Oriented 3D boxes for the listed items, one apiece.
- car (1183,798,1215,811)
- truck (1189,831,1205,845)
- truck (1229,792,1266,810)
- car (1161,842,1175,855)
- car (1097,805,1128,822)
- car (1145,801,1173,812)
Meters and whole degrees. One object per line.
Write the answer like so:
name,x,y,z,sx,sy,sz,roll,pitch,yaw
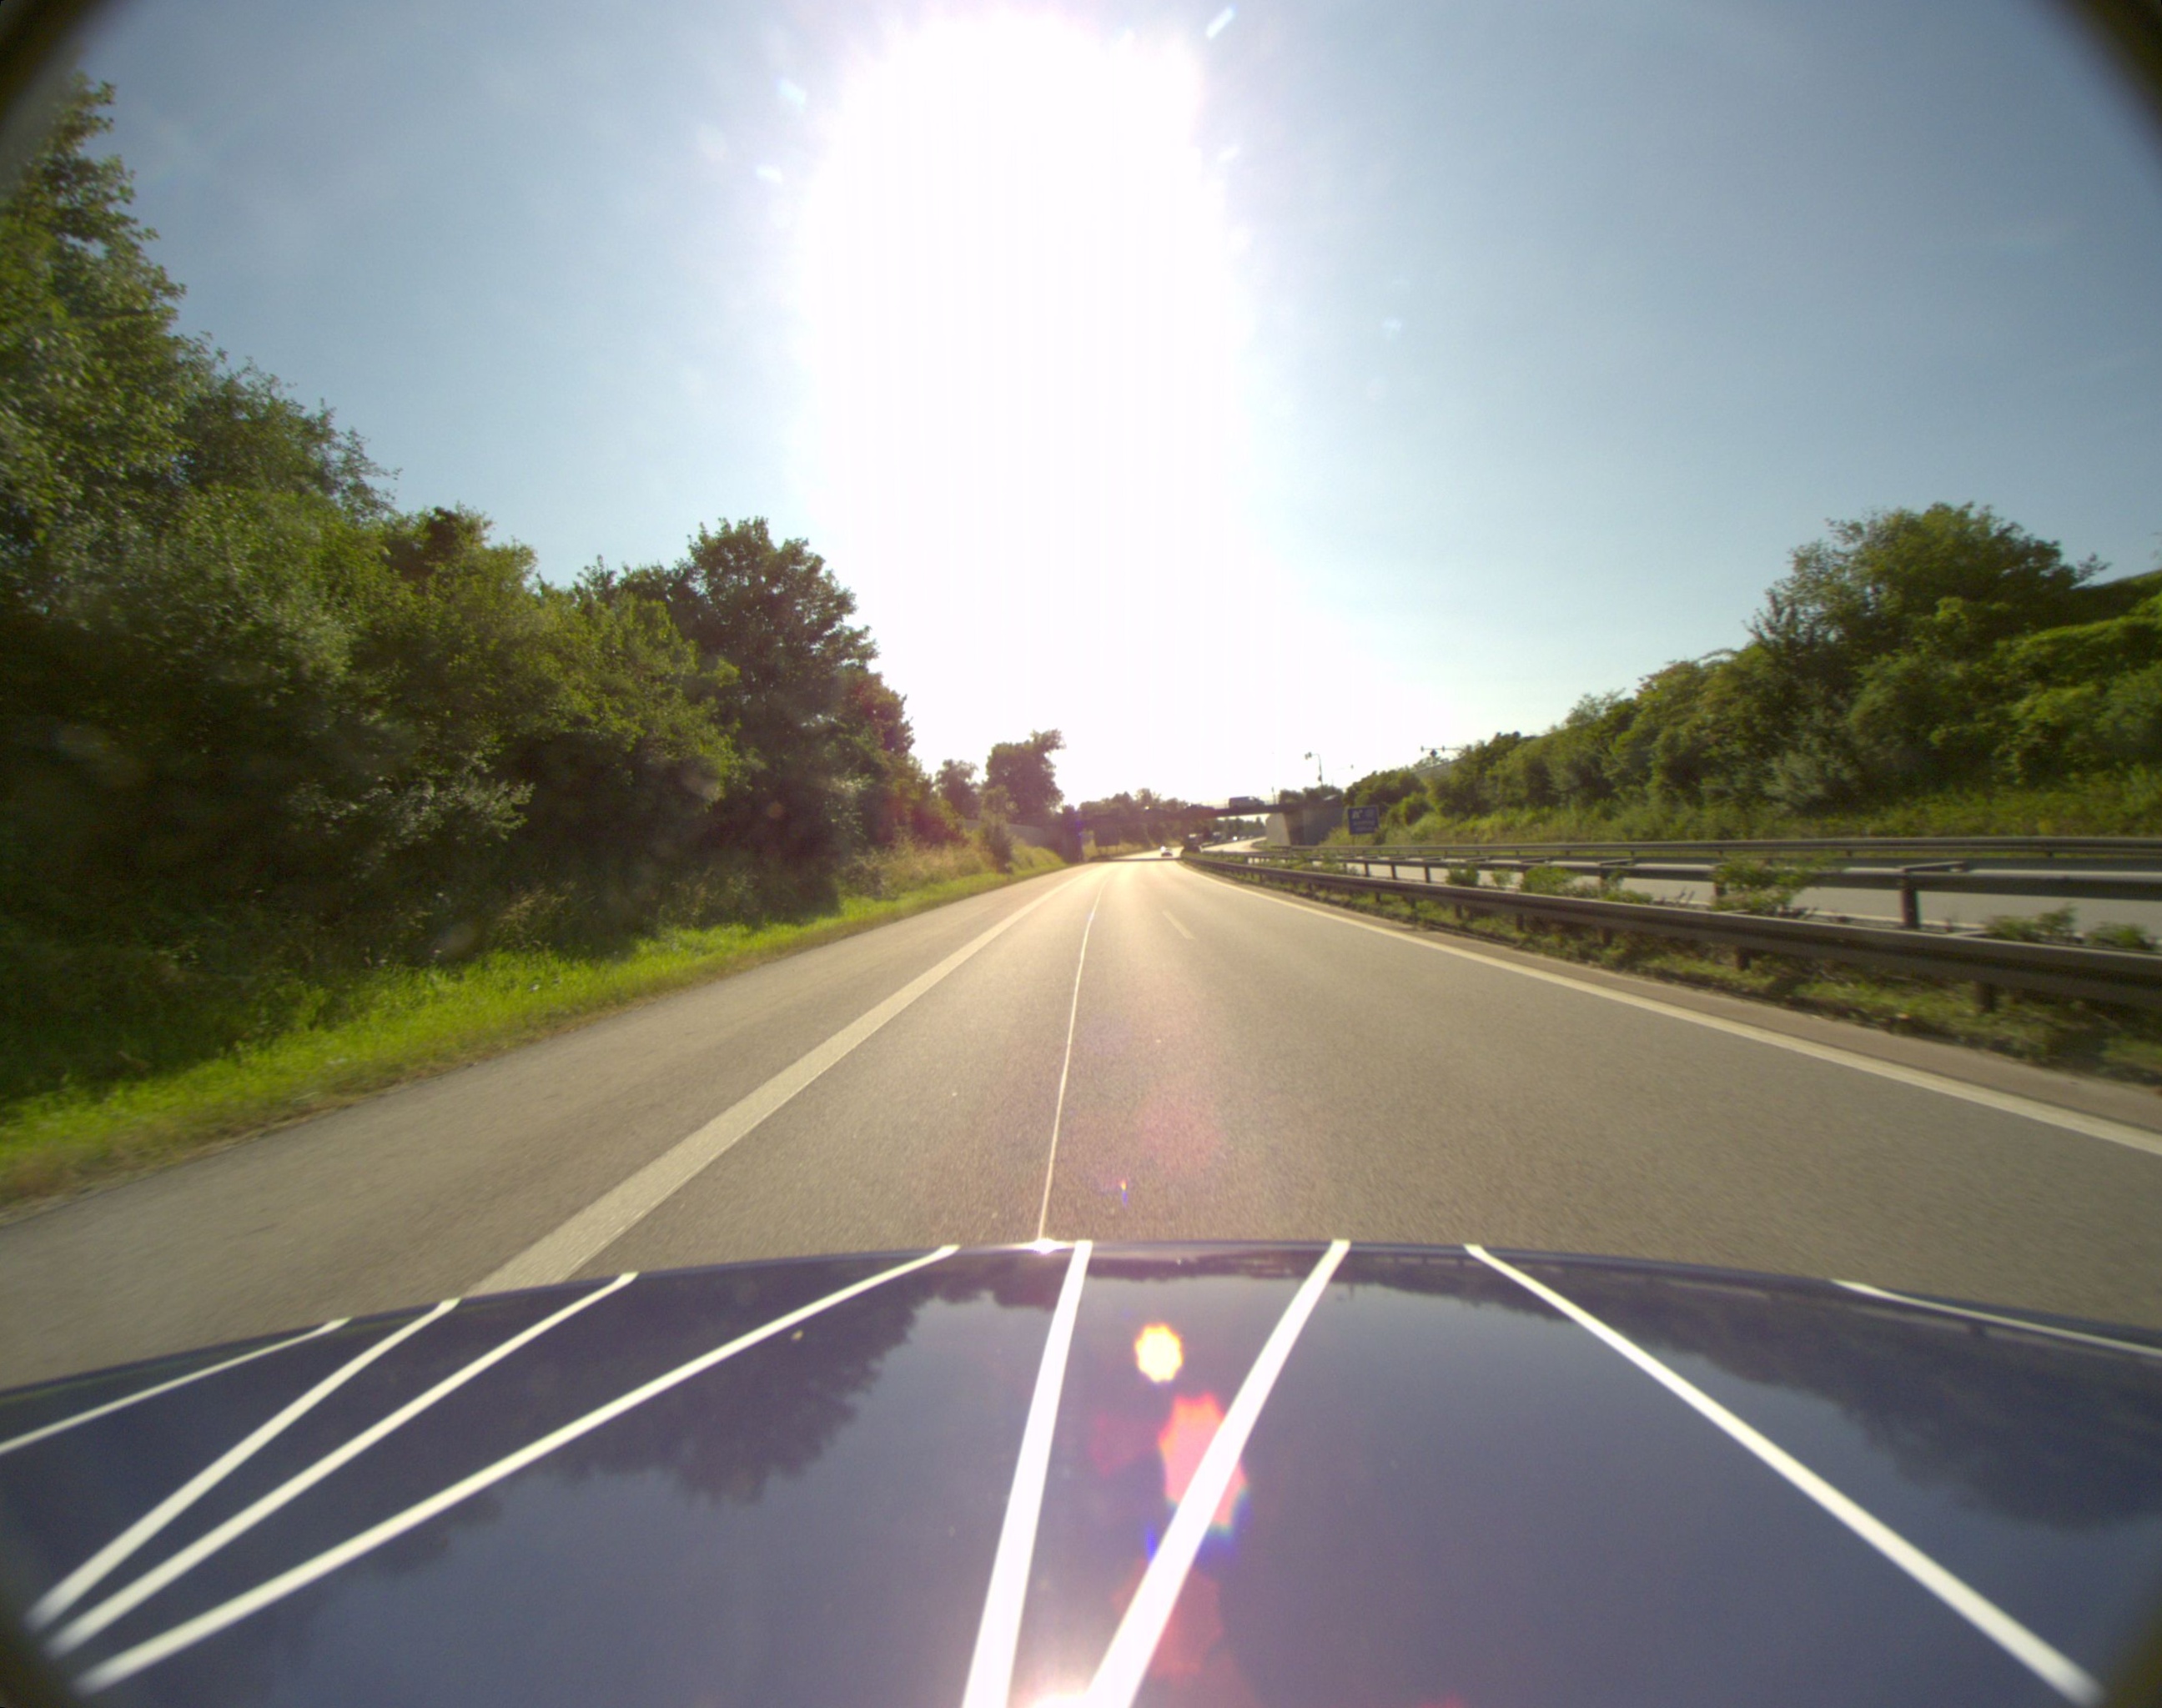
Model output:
car,16.707,-7.006,107.849,4.437,1.547,1.907,-2,2,7
truck,36.029,-4.959,236.359,3.431,4.188,12.095,-2,1,15
truck,23.390,-7.438,106.860,4.865,2.155,2.000,-2,2,8
car,14.211,-0.890,123.590,1.997,2.002,4.602,-3,0,8
car,4.367,-5.617,104.751,3.994,2.088,1.740,-2,2,9
car,11.163,-6.777,108.350,3.841,1.298,1.825,-2,2,7
